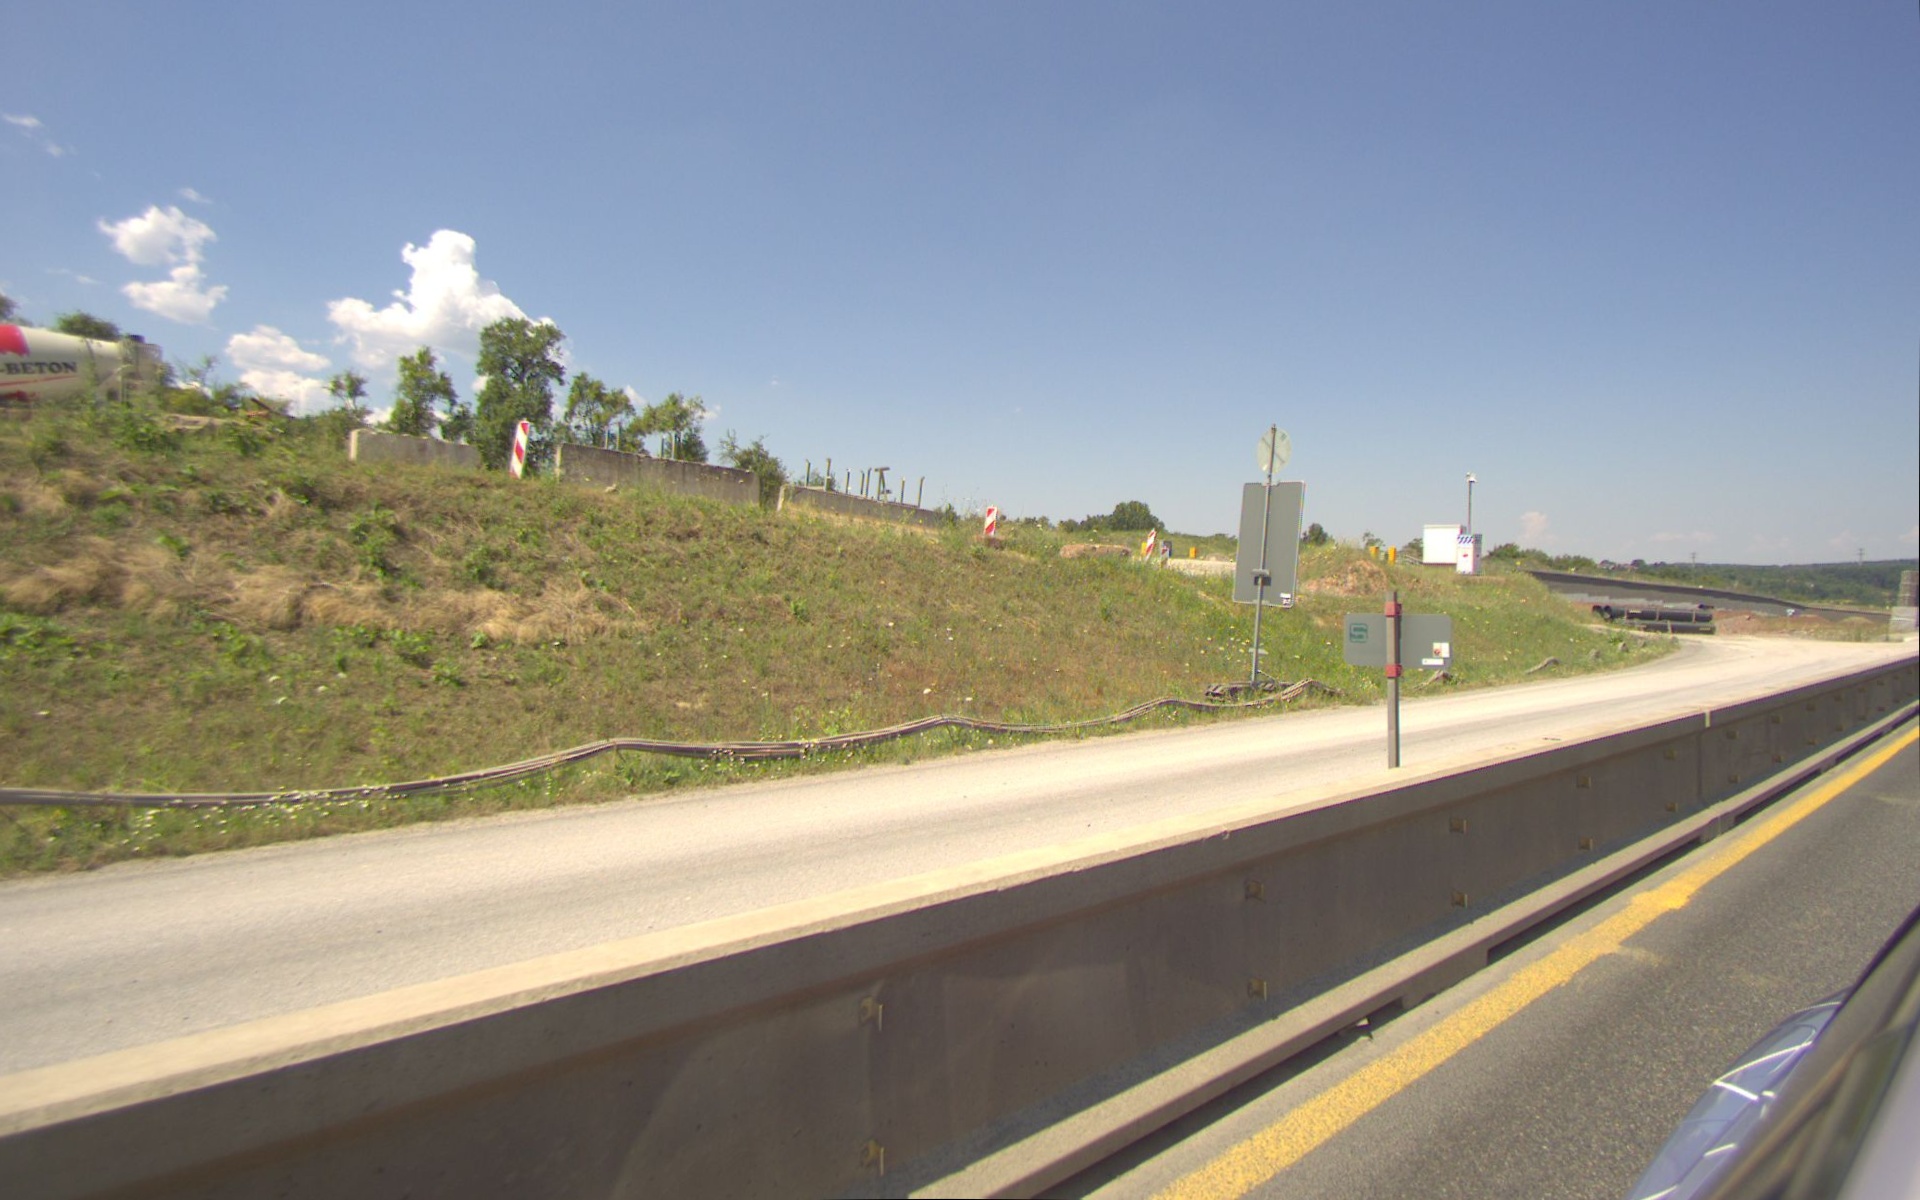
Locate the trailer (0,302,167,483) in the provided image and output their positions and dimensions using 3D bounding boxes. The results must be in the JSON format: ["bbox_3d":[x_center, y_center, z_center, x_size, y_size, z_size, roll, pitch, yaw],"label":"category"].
[{"bbox_3d":[-25.361,-5.512,26.676,2.753,4.166,6.646,2,1,41],"label":"trailer"}]
